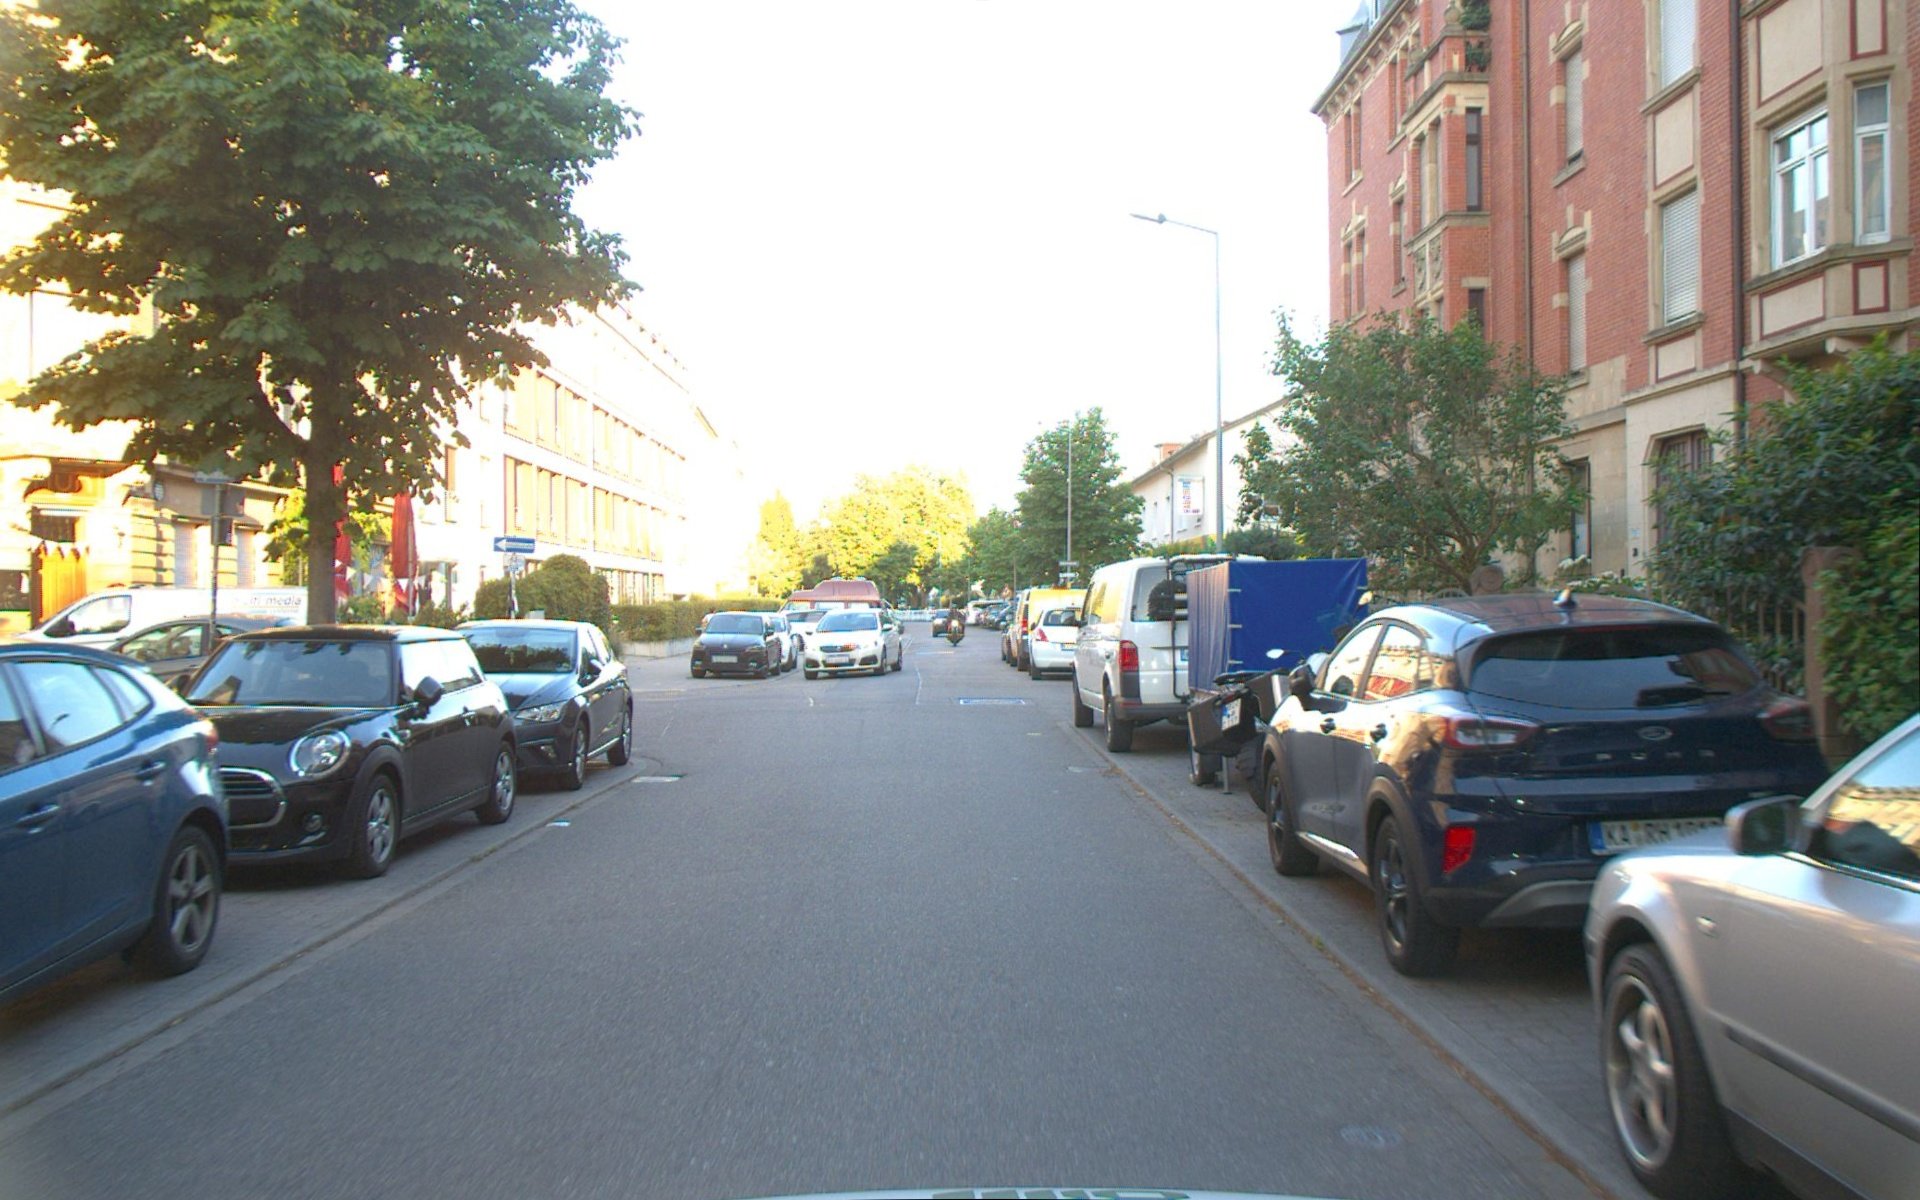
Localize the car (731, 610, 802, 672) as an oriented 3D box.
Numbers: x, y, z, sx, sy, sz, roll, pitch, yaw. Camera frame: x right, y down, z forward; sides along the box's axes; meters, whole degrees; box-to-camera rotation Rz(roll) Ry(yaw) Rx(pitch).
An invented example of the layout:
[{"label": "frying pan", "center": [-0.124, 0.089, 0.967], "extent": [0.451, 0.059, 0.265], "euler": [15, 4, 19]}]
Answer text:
[{"label": "car", "center": [-5.056, 1.040, 43.541], "extent": [1.618, 1.557, 4.014], "euler": [0, 0, -3]}]

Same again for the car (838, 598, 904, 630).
[{"label": "car", "center": [-6.129, 0.966, 114.476], "extent": [4.441, 2.171, 2.000], "euler": [1, 0, -1]}]

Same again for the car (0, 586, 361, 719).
[{"label": "car", "center": [-12.788, 0.789, 27.469], "extent": [5.208, 2.009, 2.192], "euler": [-1, 0, -24]}]

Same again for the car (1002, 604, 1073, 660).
[{"label": "car", "center": [2.083, 0.842, 45.435], "extent": [1.686, 1.449, 4.252], "euler": [1, 0, -1]}]

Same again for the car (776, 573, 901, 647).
[{"label": "car", "center": [-4.447, 0.367, 61.020], "extent": [4.418, 2.629, 2.000], "euler": [1, 0, 1]}]

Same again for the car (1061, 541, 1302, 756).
[{"label": "car", "center": [2.381, 0.496, 19.275], "extent": [1.824, 2.074, 5.542], "euler": [-2, 0, -2]}]

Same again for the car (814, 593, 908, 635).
[{"label": "car", "center": [-5.109, 0.721, 85.988], "extent": [4.752, 2.056, 1.906], "euler": [1, 0, -1]}]

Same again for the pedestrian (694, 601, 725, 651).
[{"label": "pedestrian", "center": [-7.833, 0.807, 51.663], "extent": [0.815, 1.527, 0.798], "euler": [1, -1, 0]}]

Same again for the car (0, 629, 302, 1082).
[{"label": "car", "center": [-4.048, 0.849, 5.721], "extent": [1.824, 1.437, 4.589], "euler": [0, 0, -2]}]

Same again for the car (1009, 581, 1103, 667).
[{"label": "car", "center": [2.235, 0.555, 39.719], "extent": [1.855, 1.917, 5.080], "euler": [0, 0, -1]}]

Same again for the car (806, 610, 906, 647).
[{"label": "car", "center": [-4.451, 1.218, 71.189], "extent": [4.123, 1.516, 1.849], "euler": [1, 0, 0]}]

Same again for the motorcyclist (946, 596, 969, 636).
[{"label": "motorcyclist", "center": [-0.112, 0.646, 67.724], "extent": [0.770, 1.567, 0.546], "euler": [-3, -1, 9]}]

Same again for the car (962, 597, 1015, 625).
[{"label": "car", "center": [2.181, 0.852, 127.717], "extent": [3.891, 1.945, 2.047], "euler": [-2, 0, -6]}]

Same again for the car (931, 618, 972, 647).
[{"label": "car", "center": [-0.460, 1.821, 94.654], "extent": [1.741, 1.544, 4.003], "euler": [-2, 0, 8]}]

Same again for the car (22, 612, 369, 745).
[{"label": "car", "center": [-9.377, 0.933, 20.498], "extent": [3.435, 1.534, 1.844], "euler": [0, 1, -2]}]

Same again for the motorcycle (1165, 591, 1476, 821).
[{"label": "motorcycle", "center": [2.699, 0.736, 12.335], "extent": [2.071, 1.508, 1.120], "euler": [-2, -1, -35]}]

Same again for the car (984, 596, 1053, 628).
[{"label": "car", "center": [3.949, 0.802, 112.246], "extent": [4.392, 1.945, 1.686], "euler": [-2, 0, -6]}]

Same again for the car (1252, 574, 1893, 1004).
[{"label": "car", "center": [2.638, 0.706, 8.264], "extent": [1.684, 1.578, 4.325], "euler": [0, 0, 1]}]

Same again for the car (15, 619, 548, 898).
[{"label": "car", "center": [-4.128, 0.867, 10.876], "extent": [1.706, 1.445, 4.143], "euler": [0, 0, 1]}]

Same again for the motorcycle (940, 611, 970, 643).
[{"label": "motorcycle", "center": [-0.193, 1.086, 67.212], "extent": [0.828, 1.230, 2.076], "euler": [-3, -1, 9]}]

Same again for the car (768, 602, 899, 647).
[{"label": "car", "center": [-4.446, 0.852, 58.439], "extent": [4.524, 1.486, 1.879], "euler": [1, 0, -4]}]

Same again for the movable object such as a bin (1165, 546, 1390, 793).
[{"label": "movable object such as a bin", "center": [2.677, 0.561, 14.338], "extent": [1.383, 1.910, 2.324], "euler": [-2, 0, -2]}]

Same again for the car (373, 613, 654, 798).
[{"label": "car", "center": [-4.046, 0.877, 15.703], "extent": [1.641, 1.487, 4.461], "euler": [0, 0, -3]}]

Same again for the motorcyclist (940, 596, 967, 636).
[{"label": "motorcyclist", "center": [-0.258, 0.648, 66.965], "extent": [0.870, 1.531, 0.970], "euler": [-3, -1, 9]}]

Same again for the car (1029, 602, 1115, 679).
[{"label": "car", "center": [2.283, 0.800, 34.430], "extent": [1.640, 1.503, 3.862], "euler": [0, 0, 2]}]

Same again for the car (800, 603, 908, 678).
[{"label": "car", "center": [-2.336, 0.870, 37.501], "extent": [1.777, 1.549, 4.600], "euler": [-1, 0, 4]}]

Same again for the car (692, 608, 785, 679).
[{"label": "car", "center": [-5.060, 0.955, 38.168], "extent": [1.669, 1.561, 3.843], "euler": [0, 0, -1]}]

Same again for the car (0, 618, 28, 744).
[{"label": "car", "center": [-13.802, 0.962, 20.087], "extent": [3.973, 1.535, 1.975], "euler": [1, 0, 11]}]

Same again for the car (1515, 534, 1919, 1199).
[{"label": "car", "center": [2.643, 0.695, 3.011], "extent": [1.720, 1.610, 4.842], "euler": [1, 0, 1]}]
